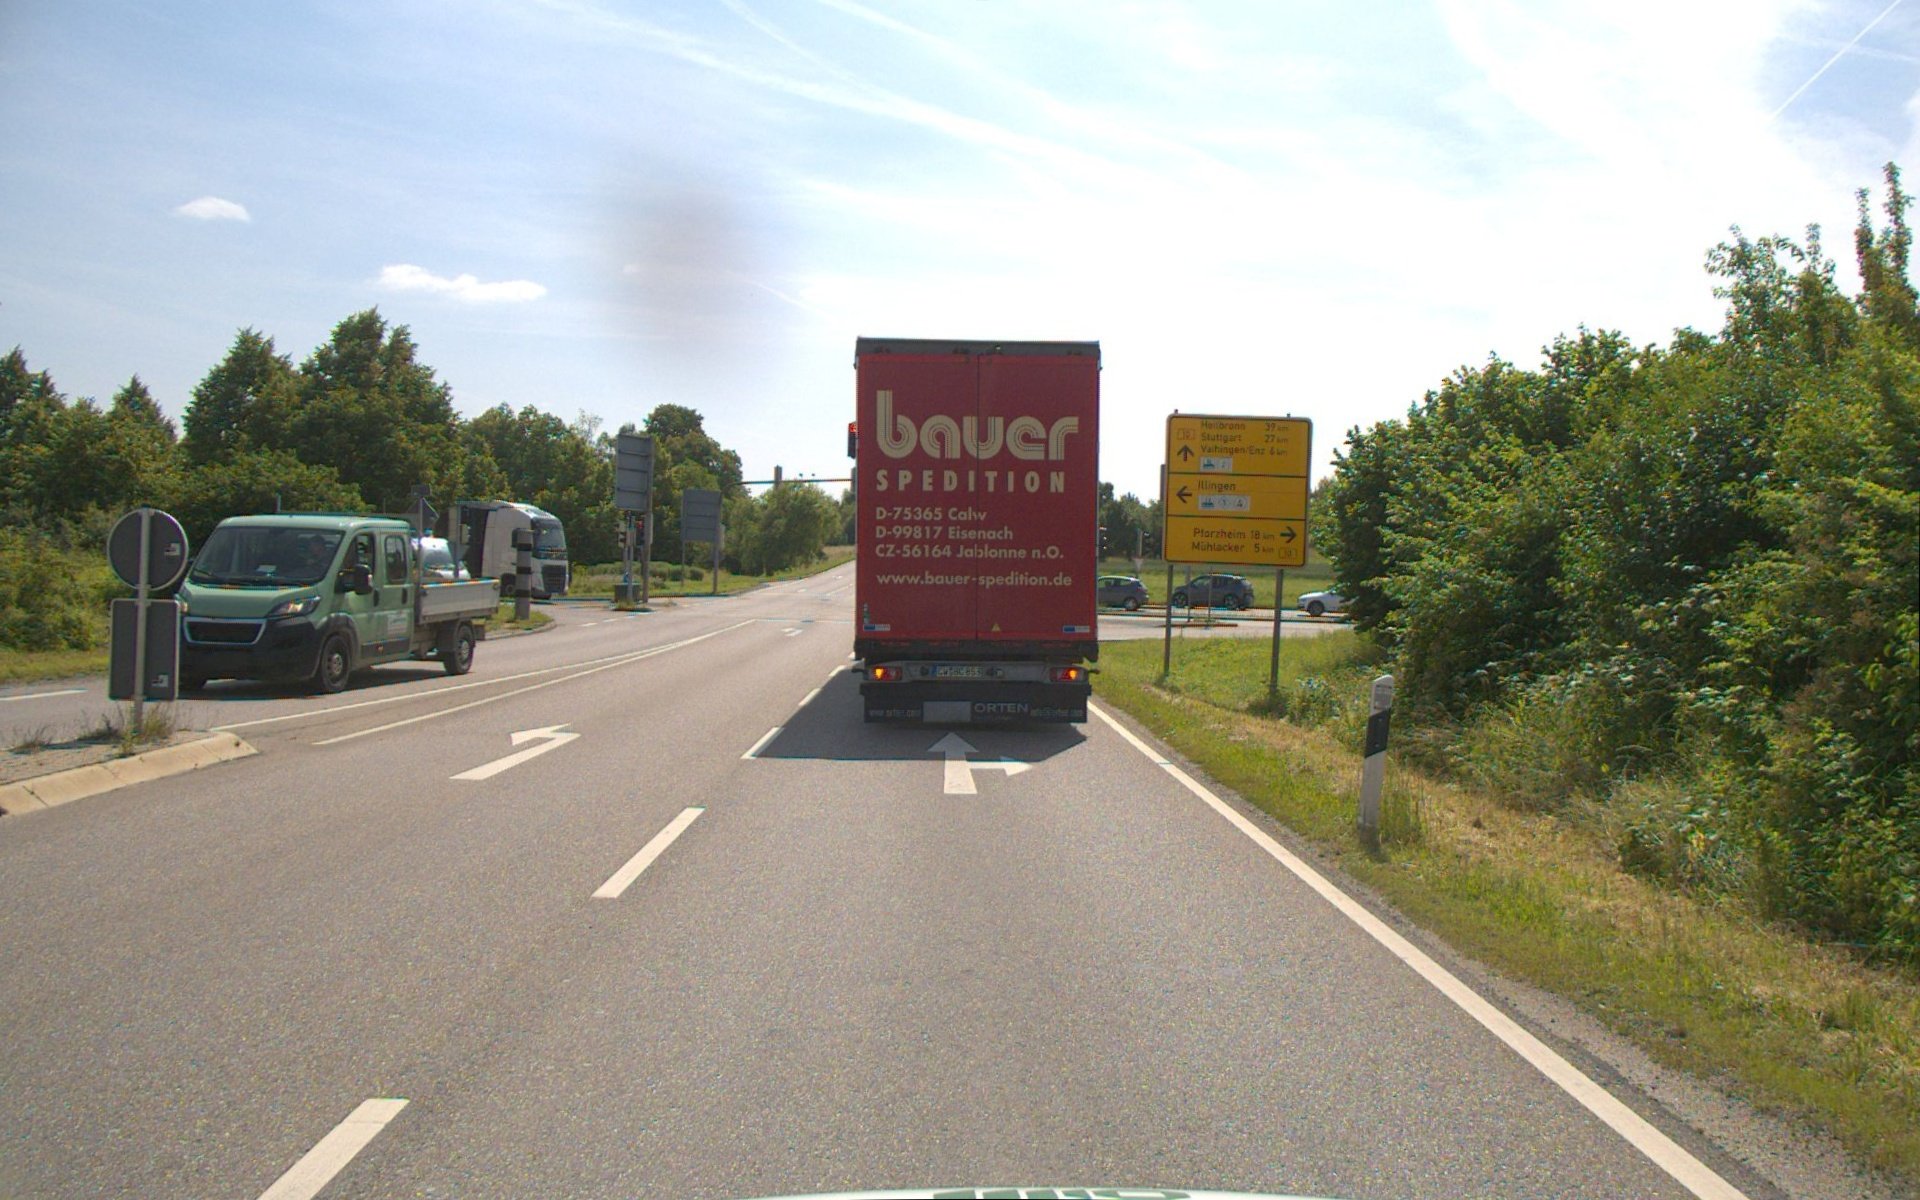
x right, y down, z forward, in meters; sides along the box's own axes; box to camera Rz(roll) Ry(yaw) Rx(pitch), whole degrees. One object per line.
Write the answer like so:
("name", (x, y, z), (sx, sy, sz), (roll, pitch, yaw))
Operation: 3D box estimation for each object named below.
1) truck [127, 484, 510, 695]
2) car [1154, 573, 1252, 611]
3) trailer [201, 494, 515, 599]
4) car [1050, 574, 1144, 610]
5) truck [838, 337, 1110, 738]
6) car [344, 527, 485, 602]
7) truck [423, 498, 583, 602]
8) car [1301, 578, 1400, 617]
("truck", (-8.366, -0.156, 22.474), (2.194, 2.417, 6.354), (1, 0, 5))
("car", (11.357, -0.391, 77.256), (4.195, 1.685, 1.696), (1, 0, 31))
("trailer", (-25.705, -2.328, 70.487), (13.394, 4.131, 2.800), (2, 2, 15))
("car", (6.071, -0.334, 73.011), (3.902, 1.454, 2.002), (2, 0, 12))
("truck", (-0.084, -0.772, 24.989), (2.679, 3.993, 16.621), (1, 1, -2))
("car", (-20.641, -1.365, 62.479), (5.870, 2.701, 2.115), (2, 0, 38))
("truck", (-18.936, -2.082, 68.579), (5.702, 4.131, 2.801), (2, 1, 14))
("car", (16.673, -0.096, 70.671), (4.012, 1.574, 1.875), (1, 0, 14))
